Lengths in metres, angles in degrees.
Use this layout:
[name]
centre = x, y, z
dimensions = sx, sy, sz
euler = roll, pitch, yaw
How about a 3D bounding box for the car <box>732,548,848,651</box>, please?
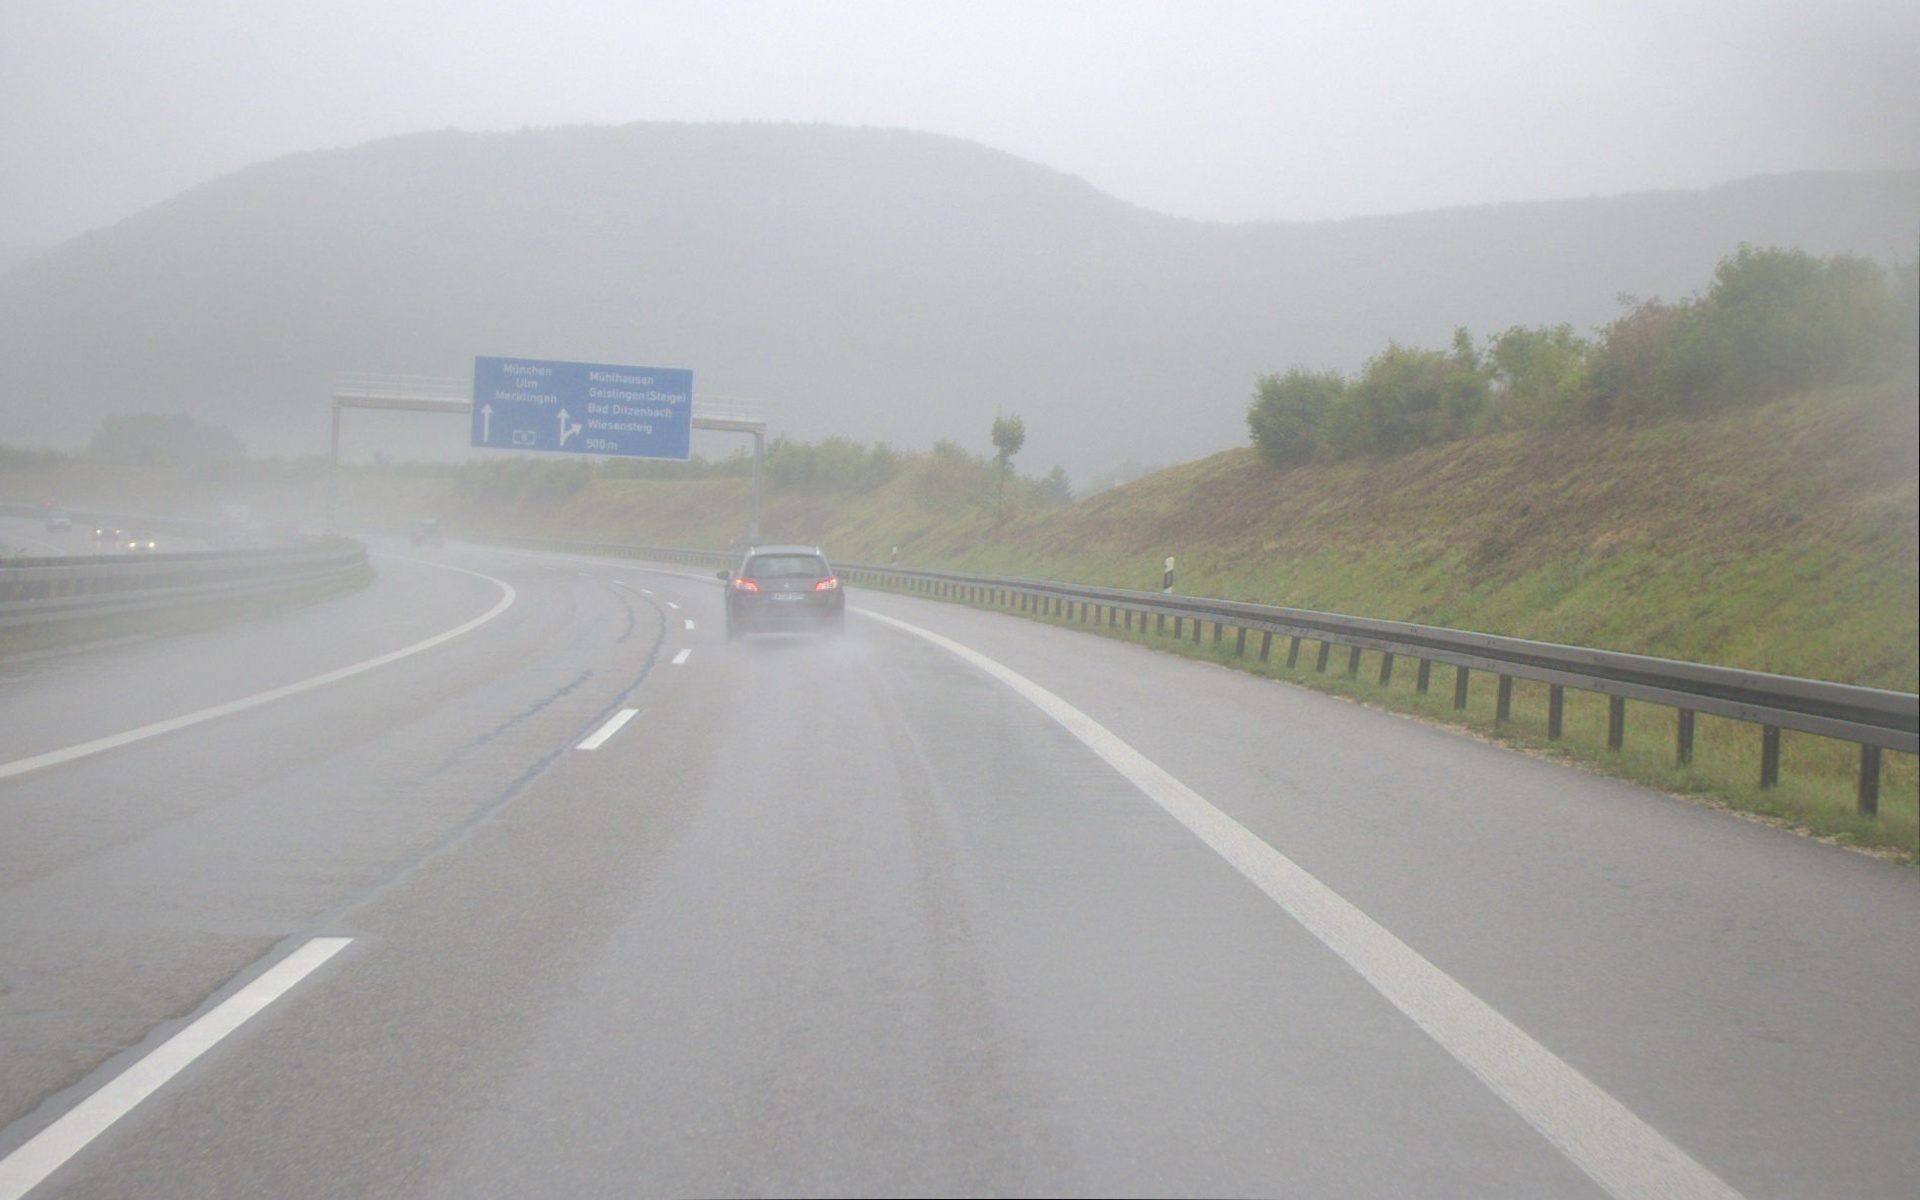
[car]
centre = -2.596, -0.037, 52.557
dimensions = 1.679, 1.467, 3.815
euler = 1, 1, -3
